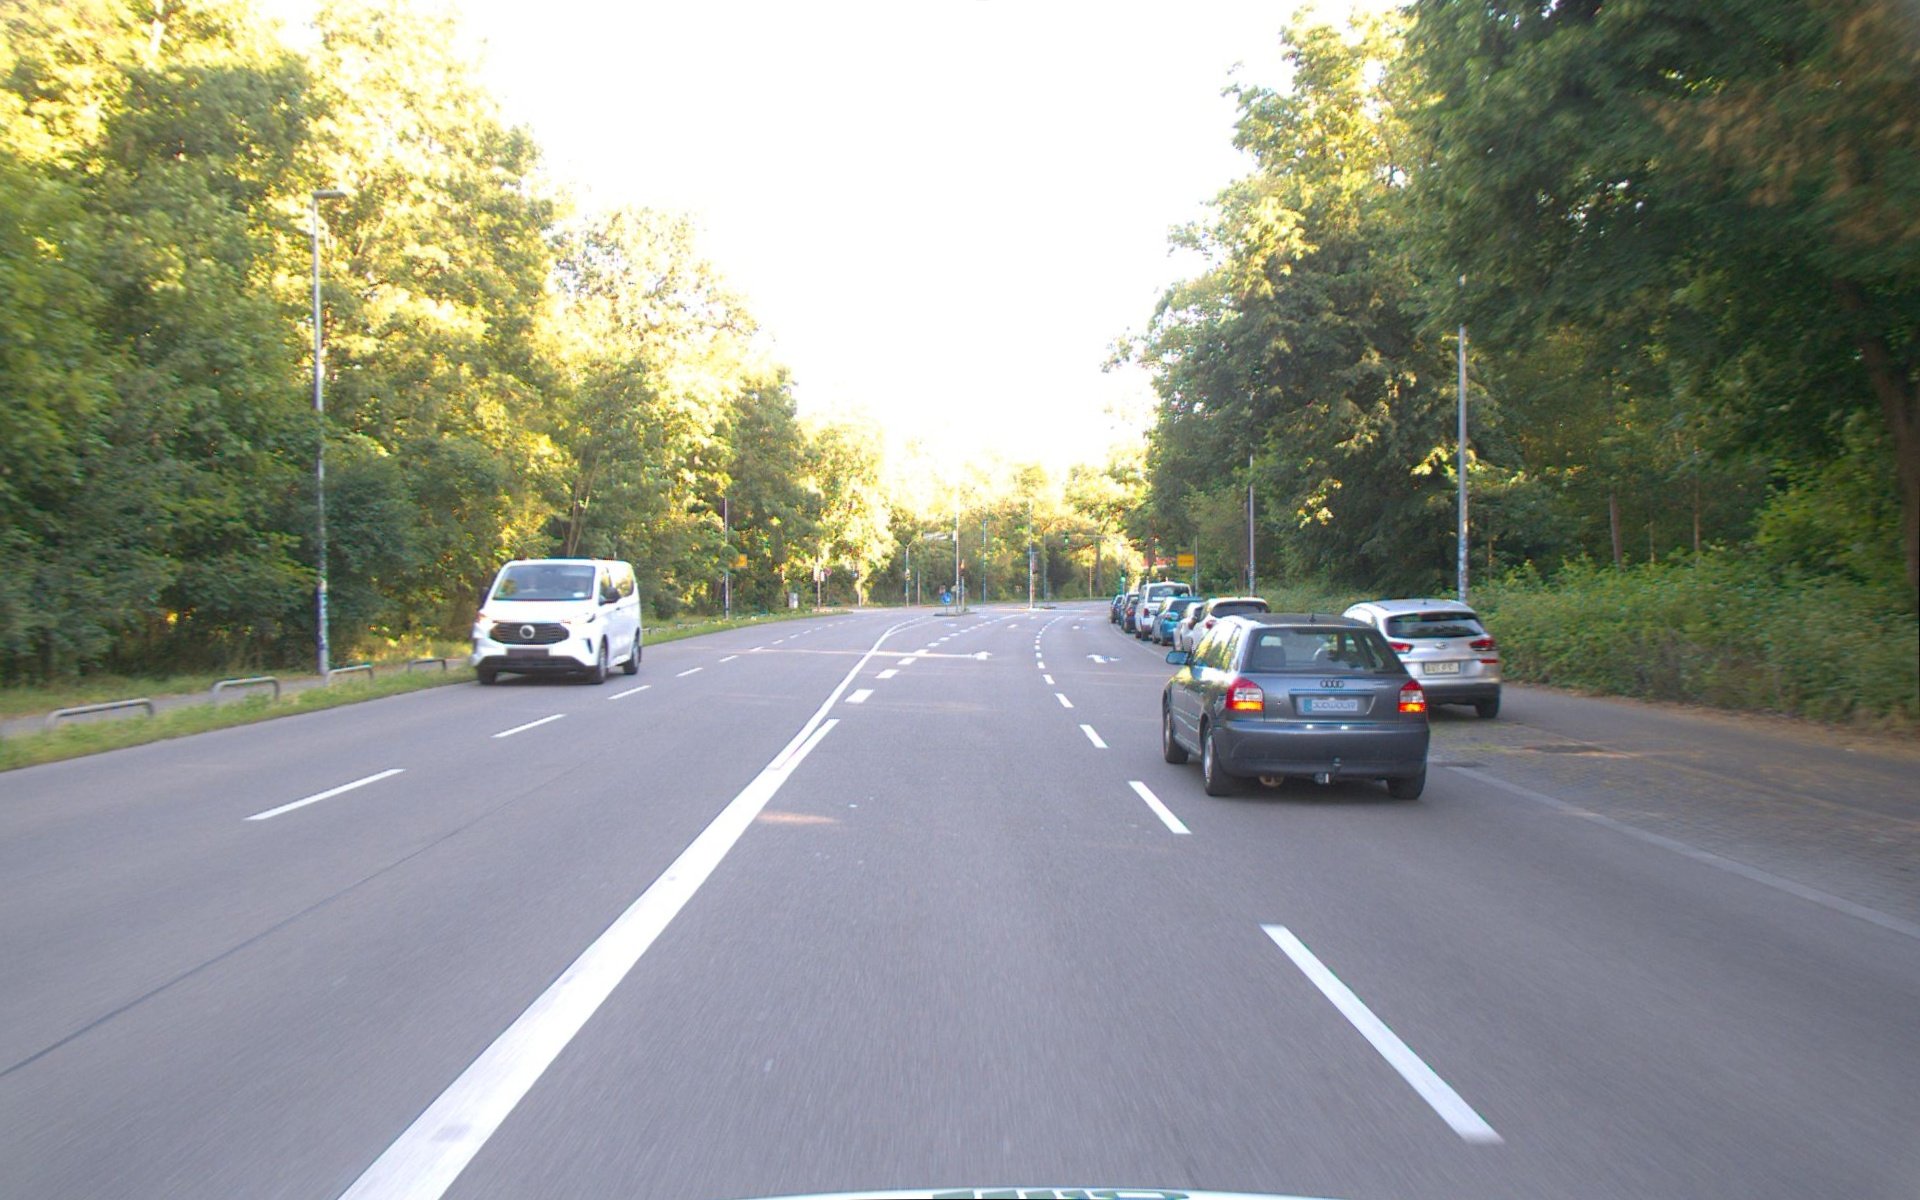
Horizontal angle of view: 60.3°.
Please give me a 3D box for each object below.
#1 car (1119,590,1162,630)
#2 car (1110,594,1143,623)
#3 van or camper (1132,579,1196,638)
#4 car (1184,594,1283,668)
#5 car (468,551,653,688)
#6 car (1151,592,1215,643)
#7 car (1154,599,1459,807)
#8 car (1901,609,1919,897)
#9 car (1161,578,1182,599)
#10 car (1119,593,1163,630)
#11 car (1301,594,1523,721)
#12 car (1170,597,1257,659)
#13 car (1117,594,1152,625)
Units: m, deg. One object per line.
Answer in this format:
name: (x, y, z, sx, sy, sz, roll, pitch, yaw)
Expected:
car: (8.067, 0.423, 74.197, 1.691, 1.734, 4.092, -1, 0, 3)
car: (9.066, 0.463, 90.351, 1.691, 1.487, 4.169, -1, 0, 4)
van or camper: (7.236, 0.271, 59.179, 1.794, 2.005, 5.343, 1, 0, 2)
car: (6.012, 0.637, 36.774, 1.691, 1.549, 4.091, 0, 0, 3)
car: (-6.483, 0.303, 27.427, 1.953, 2.027, 4.995, 1, 0, -2)
car: (7.106, 0.538, 52.992, 1.613, 1.549, 3.867, 0, 0, 1)
car: (2.753, 0.744, 14.018, 1.692, 1.466, 4.089, 1, 0, 0)
car: (5.755, 0.770, 6.061, 1.800, 1.466, 4.957, -2, 0, 1)
car: (24.555, -1.285, 191.939, 2.259, 2.376, 4.563, 0, 0, 9)
car: (7.513, 0.458, 68.789, 1.615, 1.467, 4.115, 0, 0, 3)
car: (5.845, 0.672, 21.949, 1.692, 1.466, 4.667, -1, 0, 1)
car: (6.275, 0.660, 41.253, 1.691, 1.434, 4.091, -1, 0, 2)
car: (8.929, 0.469, 84.848, 1.691, 1.516, 4.092, -1, 0, 4)
